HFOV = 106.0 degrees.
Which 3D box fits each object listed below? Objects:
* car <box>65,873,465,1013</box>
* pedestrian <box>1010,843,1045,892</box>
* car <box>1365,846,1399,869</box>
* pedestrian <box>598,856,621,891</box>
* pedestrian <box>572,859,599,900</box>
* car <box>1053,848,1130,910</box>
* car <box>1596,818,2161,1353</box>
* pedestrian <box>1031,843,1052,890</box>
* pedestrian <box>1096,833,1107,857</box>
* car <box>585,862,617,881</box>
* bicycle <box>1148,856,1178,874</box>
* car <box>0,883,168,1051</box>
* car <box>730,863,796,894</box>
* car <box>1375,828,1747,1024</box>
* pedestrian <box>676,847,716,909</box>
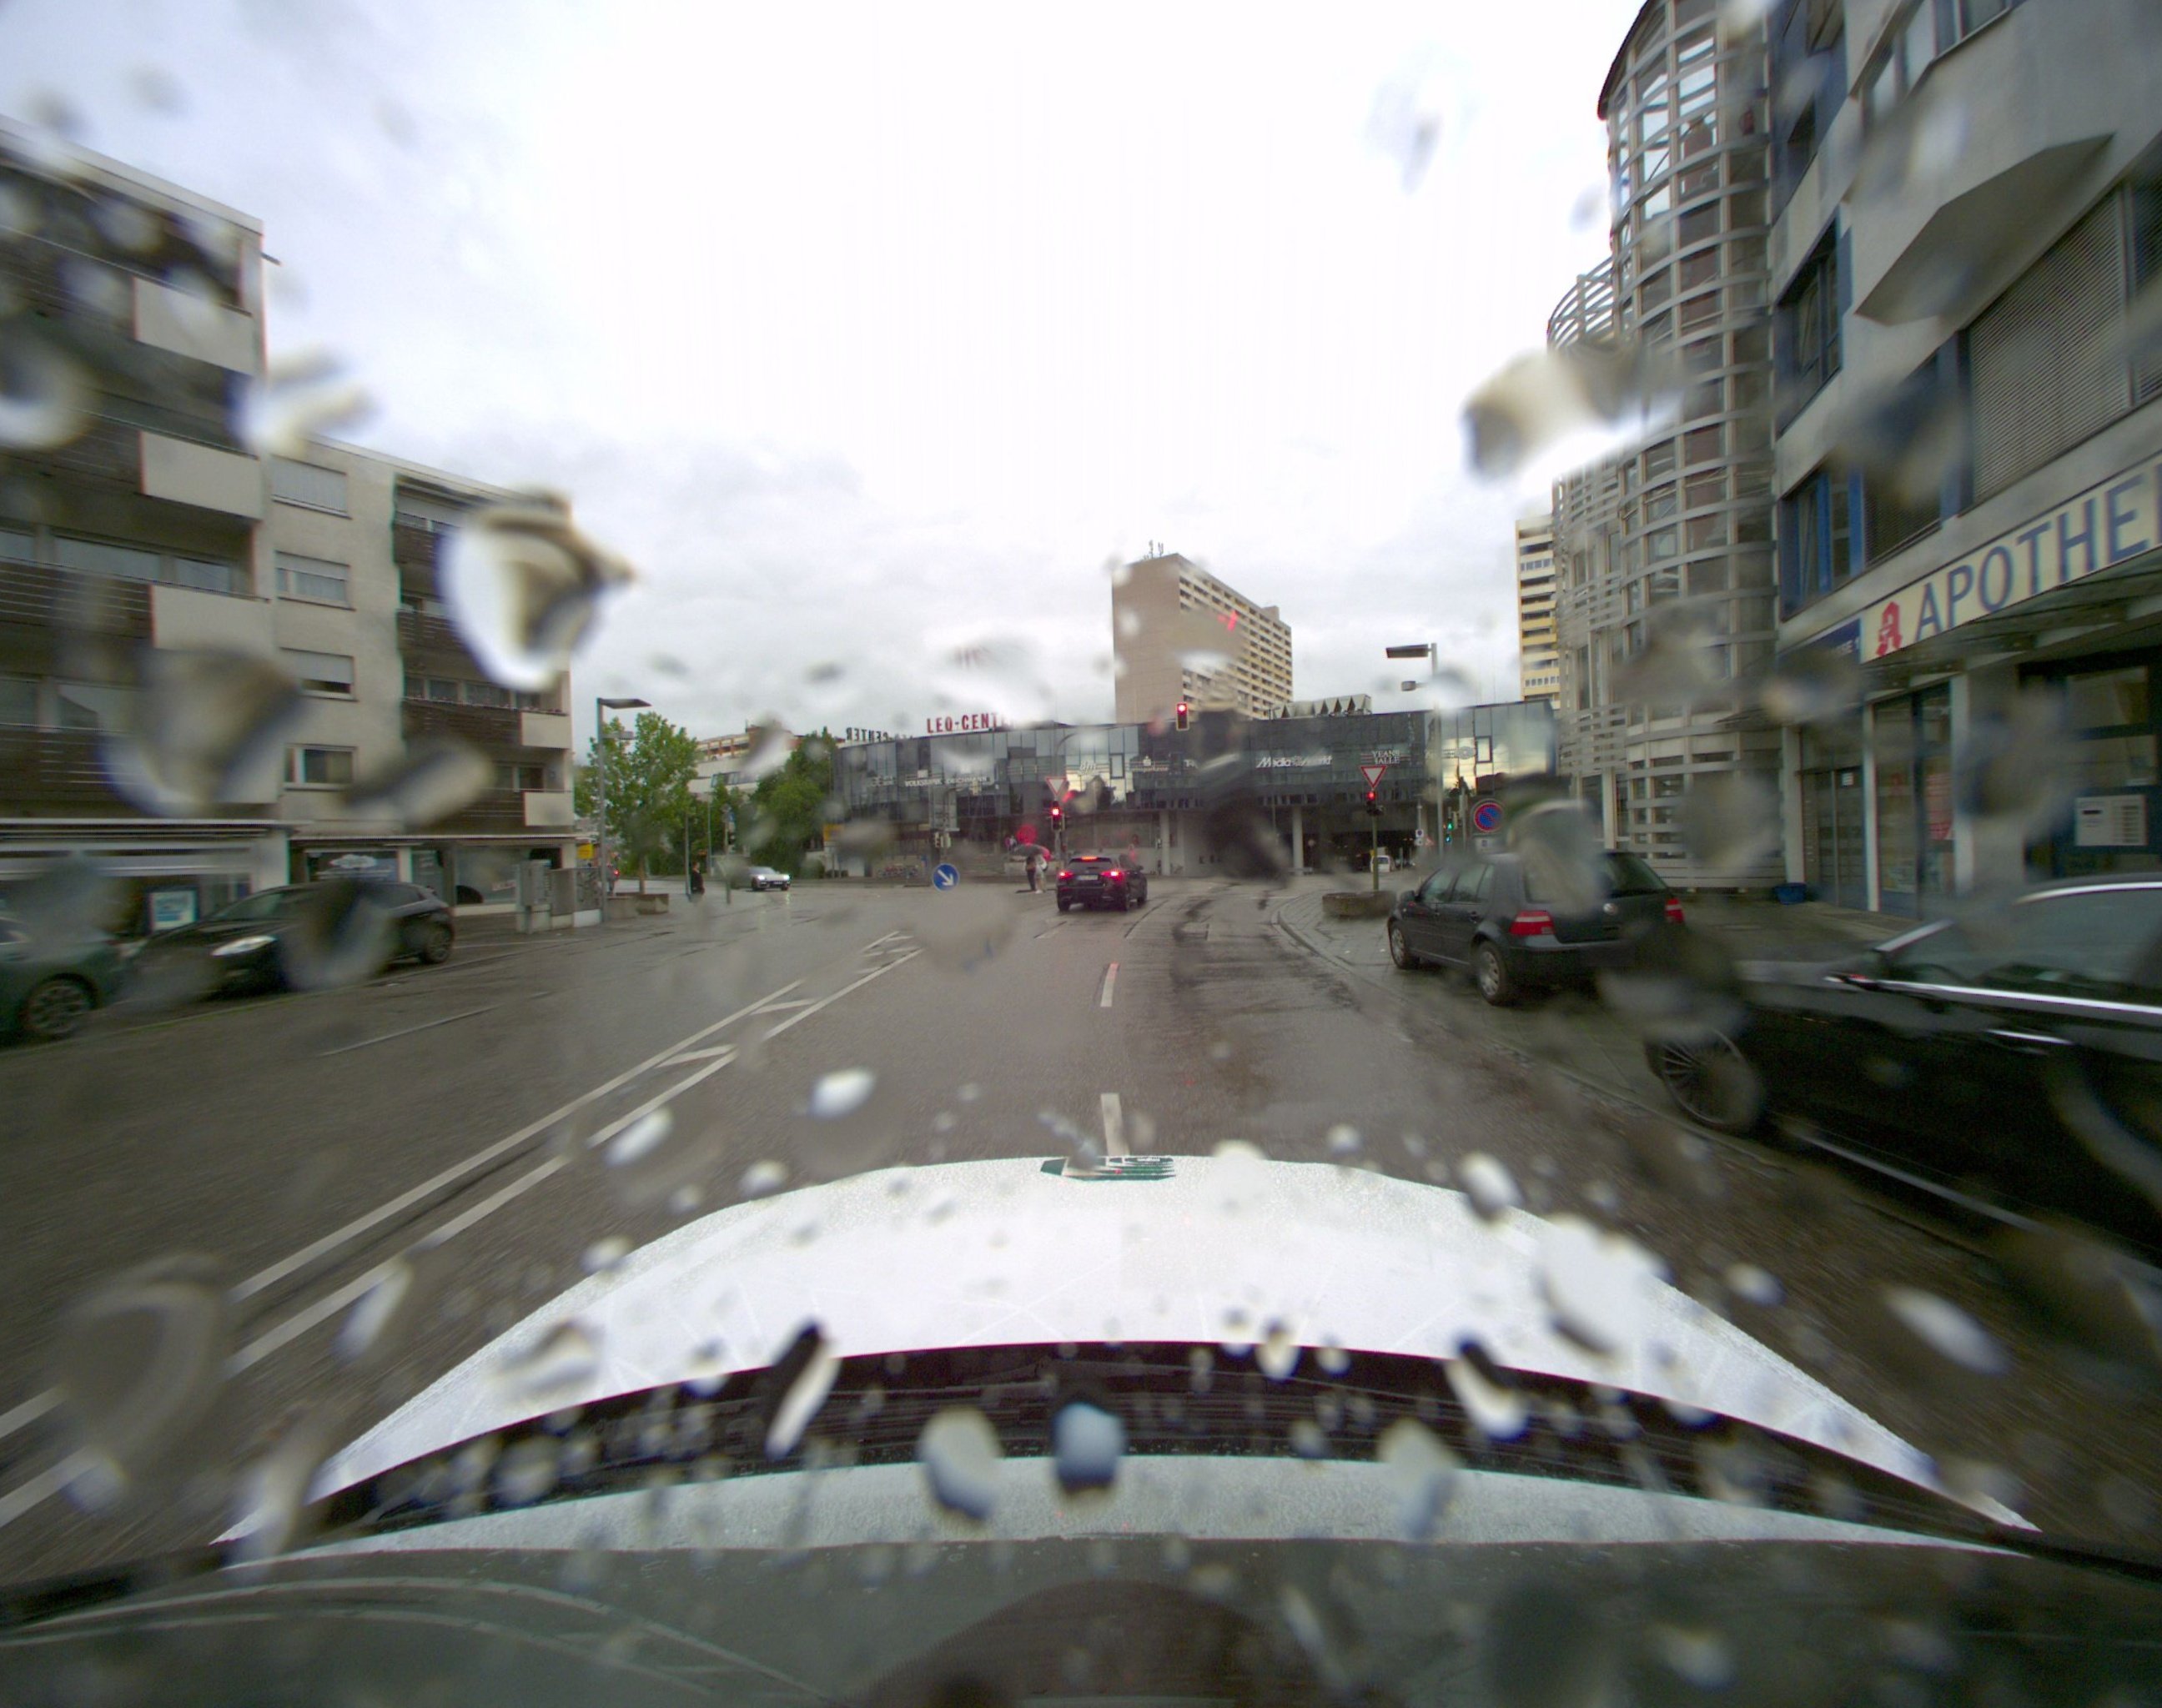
[{"bbox_3d":[-11.755,1.148,12.276,1.932,1.541,4.264,-2,0,-6],"label":"car"},{"bbox_3d":[-1.859,0.462,28.208,0.915,1.659,0.747,1,1,-34],"label":"pedestrian"},{"bbox_3d":[24.298,0.270,65.625,1.974,1.717,4.025,-2,0,29],"label":"car"},{"bbox_3d":[-27.711,1.125,47.889,1.032,2.013,0.953,1,1,-37],"label":"pedestrian"},{"bbox_3d":[-25.010,1.292,41.115,1.032,2.013,0.953,1,1,-37],"label":"pedestrian"},{"bbox_3d":[0.377,0.590,21.764,1.797,1.419,4.004,-2,0,4],"label":"car"},{"bbox_3d":[4.111,0.652,2.763,1.985,1.534,4.651,-1,-1,4],"label":"car"},{"bbox_3d":[-1.432,0.442,29.149,0.610,1.659,0.670,2,1,-11],"label":"pedestrian"},{"bbox_3d":[1.786,-0.744,70.270,0.784,2.013,0.671,-2,0,4],"label":"pedestrian"},{"bbox_3d":[-56.133,2.066,95.193,3.949,2.013,2.012,-2,0,42],"label":"car"},{"bbox_3d":[7.059,0.919,70.050,2.423,1.464,0.654,-2,2,-9],"label":"bicycle"},{"bbox_3d":[-11.244,1.149,6.995,1.932,1.541,4.512,-2,0,-6],"label":"car"},{"bbox_3d":[-18.598,1.401,47.533,2.011,1.512,4.380,1,1,-44],"label":"car"},{"bbox_3d":[4.717,0.582,8.784,1.691,1.486,4.003,-5,0,3],"label":"car"},{"bbox_3d":[-13.018,0.803,27.541,0.743,2.013,0.925,2,0,15],"label":"pedestrian"}]
